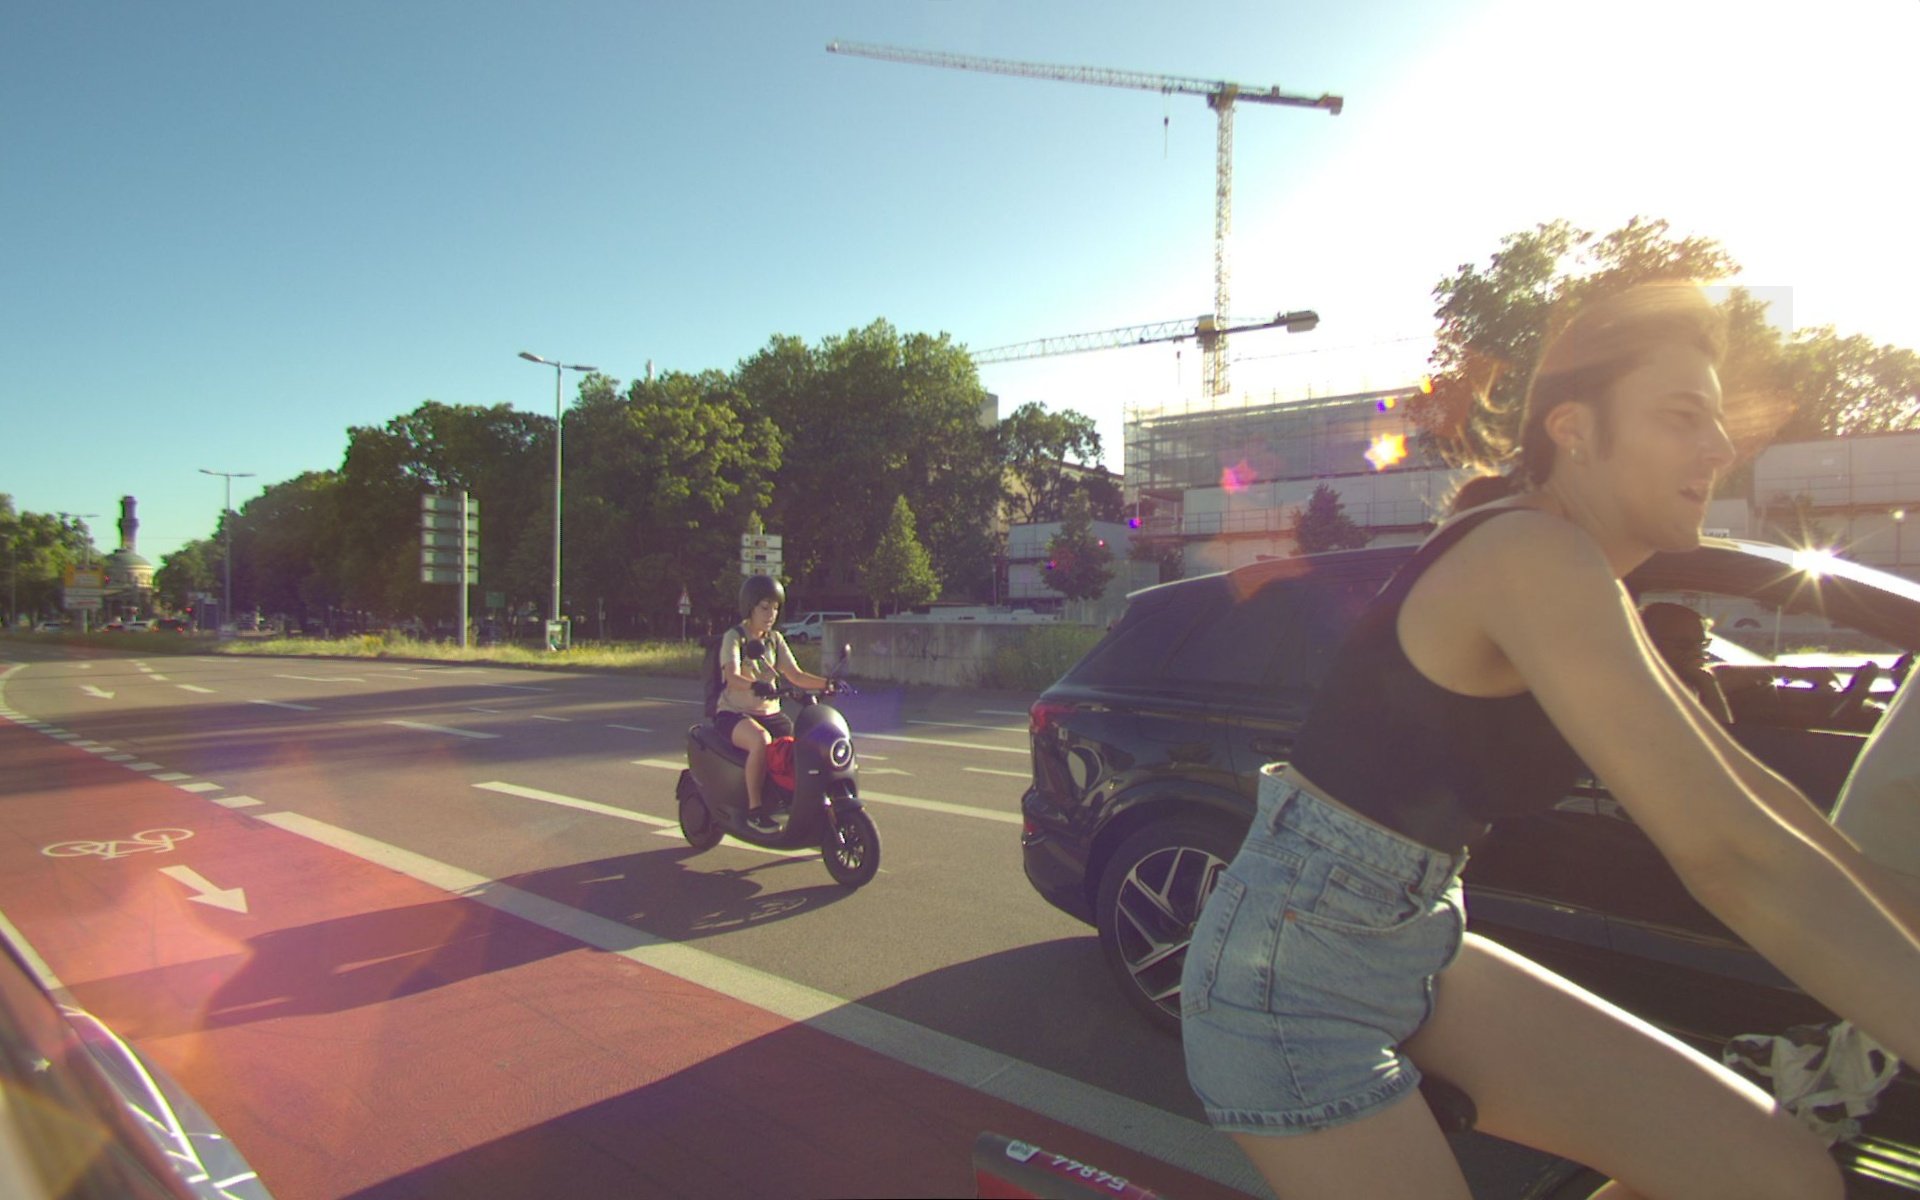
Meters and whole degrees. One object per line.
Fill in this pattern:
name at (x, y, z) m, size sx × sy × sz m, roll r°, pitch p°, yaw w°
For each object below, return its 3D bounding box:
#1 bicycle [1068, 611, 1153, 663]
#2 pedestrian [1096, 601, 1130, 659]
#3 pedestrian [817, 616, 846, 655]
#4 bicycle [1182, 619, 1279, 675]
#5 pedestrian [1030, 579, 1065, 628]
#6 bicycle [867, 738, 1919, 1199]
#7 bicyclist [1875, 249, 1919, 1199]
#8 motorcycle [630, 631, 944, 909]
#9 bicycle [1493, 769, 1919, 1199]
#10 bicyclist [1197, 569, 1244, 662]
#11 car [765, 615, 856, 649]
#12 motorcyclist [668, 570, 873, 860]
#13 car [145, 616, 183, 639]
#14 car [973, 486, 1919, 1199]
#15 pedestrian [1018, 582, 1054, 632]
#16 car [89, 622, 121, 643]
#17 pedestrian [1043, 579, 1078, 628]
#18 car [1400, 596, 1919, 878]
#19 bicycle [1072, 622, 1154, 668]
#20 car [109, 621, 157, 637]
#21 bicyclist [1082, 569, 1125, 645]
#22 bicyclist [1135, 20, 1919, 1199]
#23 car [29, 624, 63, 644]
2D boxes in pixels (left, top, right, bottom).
bicycle at (5.500, 1.374, 37.148) m, size 3.079 × 1.824 × 0.831 m, roll -3°, pitch -1°, yaw 40°
pedestrian at (6.470, 1.254, 42.681) m, size 1.018 × 2.393 × 1.008 m, roll -1°, pitch 0°, yaw 40°
pedestrian at (-6.260, 1.705, 49.254) m, size 1.018 × 1.845 × 0.977 m, roll -1°, pitch 0°, yaw 37°
bicycle at (9.203, 1.604, 34.498) m, size 3.079 × 1.824 × 0.831 m, roll -3°, pitch -1°, yaw 40°
pedestrian at (3.647, 0.143, 42.045) m, size 1.135 × 2.029 × 0.930 m, roll -1°, pitch 0°, yaw 35°
bicycle at (0.804, 0.821, 0.818) m, size 1.829 × 1.227 × 0.610 m, roll -2°, pitch -1°, yaw 39°
bicyclist at (1.520, 0.405, 0.993) m, size 0.841 × 1.618 × 0.709 m, roll -1°, pitch -1°, yaw 39°
motorcycle at (-1.037, 0.842, 5.732) m, size 1.883 × 1.303 × 0.715 m, roll -2°, pitch -1°, yaw 41°
bicycle at (1.641, 0.839, 0.895) m, size 1.968 × 1.118 × 0.640 m, roll -1°, pitch -1°, yaw 39°
bicyclist at (8.935, 0.519, 34.719) m, size 1.305 × 3.126 × 0.831 m, roll -1°, pitch 0°, yaw 39°
car at (-9.067, 1.926, 61.847) m, size 2.065 × 1.950 × 5.443 m, roll -1°, pitch -2°, yaw 42°
motorcyclist at (-1.083, 0.596, 5.772) m, size 0.917 × 1.485 × 0.717 m, roll -2°, pitch -1°, yaw 41°
car at (-66.633, 2.290, 84.666) m, size 3.998 × 1.841 × 1.796 m, roll -1°, pitch 0°, yaw 41°
car at (2.412, 0.577, 3.028) m, size 4.677 × 1.647 × 1.753 m, roll -1°, pitch 0°, yaw 40°
pedestrian at (3.090, 0.280, 41.239) m, size 1.135 × 2.029 × 0.930 m, roll -1°, pitch 0°, yaw 35°
car at (-79.876, 3.026, 94.532) m, size 3.945 × 1.802 × 1.725 m, roll -1°, pitch 0°, yaw 41°
pedestrian at (4.253, 0.135, 42.837) m, size 1.135 × 2.029 × 0.930 m, roll -1°, pitch 0°, yaw 35°
car at (4.970, 0.755, 6.548) m, size 3.603 × 1.497 × 1.477 m, roll -2°, pitch -1°, yaw 41°
bicycle at (6.434, 1.857, 42.711) m, size 3.355 × 1.824 × 1.066 m, roll -1°, pitch 0°, yaw 40°
car at (-91.014, 3.190, 111.453) m, size 3.933 × 1.699 × 1.856 m, roll -1°, pitch 0°, yaw -35°
bicyclist at (5.303, 0.269, 37.297) m, size 1.305 × 2.749 × 0.831 m, roll -1°, pitch 0°, yaw 39°
bicyclist at (0.712, 0.452, 0.894) m, size 0.874 × 1.591 × 0.635 m, roll -2°, pitch -1°, yaw 39°
car at (-82.772, 3.073, 91.638) m, size 3.998 × 1.699 × 1.826 m, roll -1°, pitch 0°, yaw 41°
